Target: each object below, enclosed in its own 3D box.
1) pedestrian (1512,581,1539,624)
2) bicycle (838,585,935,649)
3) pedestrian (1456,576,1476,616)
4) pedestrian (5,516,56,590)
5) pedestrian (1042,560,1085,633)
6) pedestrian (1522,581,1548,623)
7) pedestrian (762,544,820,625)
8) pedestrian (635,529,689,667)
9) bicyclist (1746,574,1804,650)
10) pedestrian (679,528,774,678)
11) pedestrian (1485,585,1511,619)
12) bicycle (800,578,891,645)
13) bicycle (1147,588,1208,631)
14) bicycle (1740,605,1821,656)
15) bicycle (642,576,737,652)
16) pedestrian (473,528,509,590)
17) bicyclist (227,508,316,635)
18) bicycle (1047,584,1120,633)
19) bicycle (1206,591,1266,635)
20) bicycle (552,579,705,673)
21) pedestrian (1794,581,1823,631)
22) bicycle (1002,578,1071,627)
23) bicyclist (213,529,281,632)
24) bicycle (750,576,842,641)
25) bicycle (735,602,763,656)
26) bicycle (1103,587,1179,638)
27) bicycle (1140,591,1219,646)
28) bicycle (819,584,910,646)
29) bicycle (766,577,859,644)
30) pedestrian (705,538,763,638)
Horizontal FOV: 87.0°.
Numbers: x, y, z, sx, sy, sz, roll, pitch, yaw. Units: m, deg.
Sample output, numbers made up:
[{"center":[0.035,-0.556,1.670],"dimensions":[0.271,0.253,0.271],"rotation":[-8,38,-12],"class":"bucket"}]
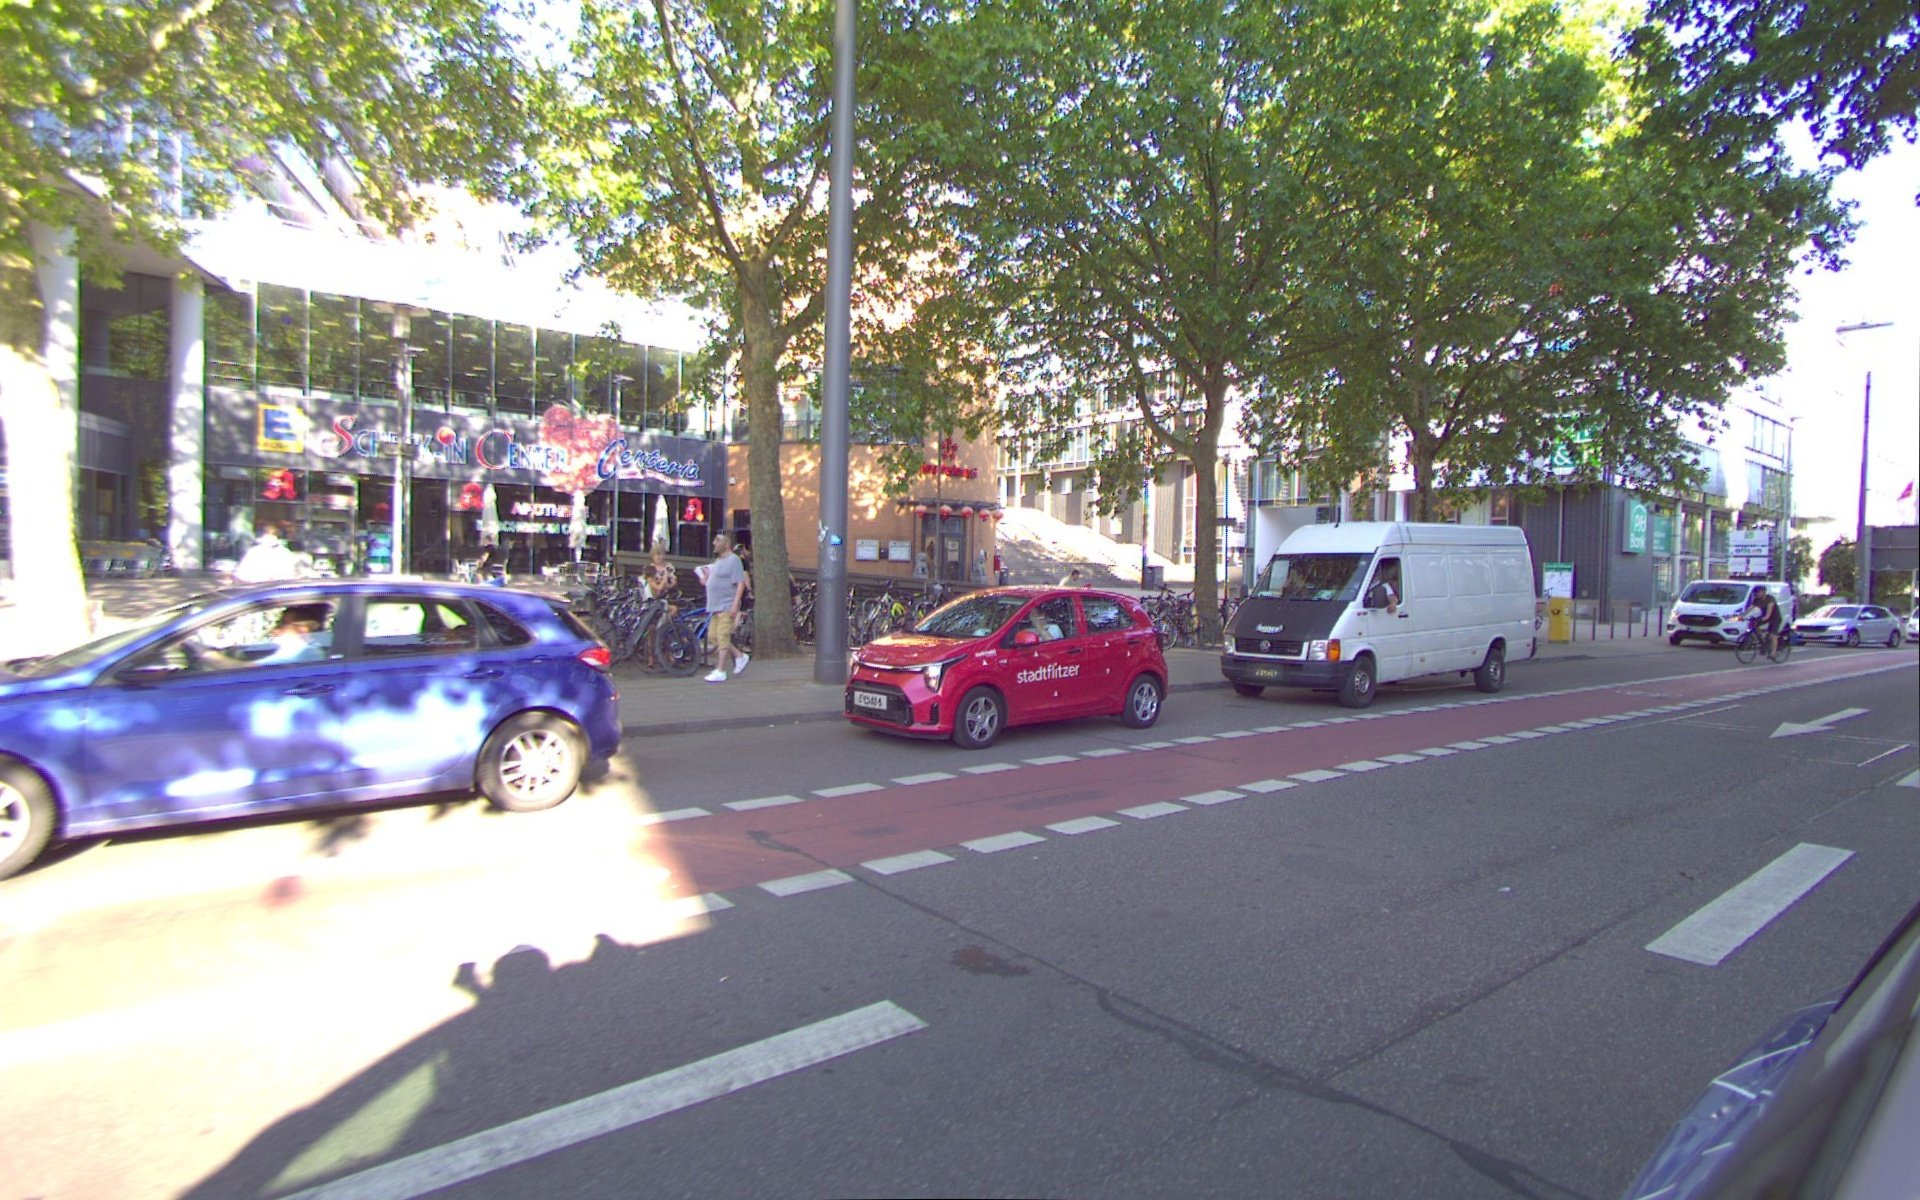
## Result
[{"center":[20.763,0.094,37.133],"dimensions":[0.625,1.562,0.579],"rotation":[1,2,-31],"class":"pedestrian"},{"center":[-1.262,0.270,17.594],"dimensions":[1.626,1.044,0.596],"rotation":[0,2,-41],"class":"bicycle"},{"center":[21.996,-0.163,43.968],"dimensions":[0.538,1.697,0.711],"rotation":[3,2,43],"class":"pedestrian"},{"center":[-21.525,-1.077,23.445],"dimensions":[0.851,1.661,0.966],"rotation":[0,2,-43],"class":"pedestrian"},{"center":[2.396,-0.083,23.437],"dimensions":[0.623,1.651,0.719],"rotation":[1,2,-34],"class":"pedestrian"},{"center":[21.357,0.074,37.590],"dimensions":[0.623,1.541,0.517],"rotation":[1,2,-31],"class":"pedestrian"},{"center":[-3.783,-0.357,22.654],"dimensions":[1.000,1.779,0.789],"rotation":[0,2,-35],"class":"pedestrian"},{"center":[-4.037,-0.032,13.762],"dimensions":[0.644,1.808,0.810],"rotation":[1,2,-14],"class":"pedestrian"},{"center":[19.013,0.272,23.614],"dimensions":[0.699,1.708,0.754],"rotation":[1,2,-22],"class":"bicyclist"},{"center":[-2.937,0.016,12.730],"dimensions":[0.872,1.808,0.796],"rotation":[3,2,43],"class":"pedestrian"},{"center":[20.389,0.082,38.348],"dimensions":[0.664,1.236,0.616],"rotation":[1,2,-34],"class":"pedestrian"},{"center":[-2.073,0.198,18.481],"dimensions":[1.626,1.151,0.503],"rotation":[0,2,-41],"class":"bicycle"},{"center":[5.582,0.231,25.962],"dimensions":[1.624,1.059,0.597],"rotation":[0,2,-37],"class":"bicycle"},{"center":[19.094,0.701,23.541],"dimensions":[2.082,1.135,0.552],"rotation":[1,2,-24],"class":"bicycle"},{"center":[-4.360,0.205,16.374],"dimensions":[0.478,1.174,1.455],"rotation":[3,2,41],"class":"bicycle"},{"center":[-14.646,-1.273,31.613],"dimensions":[0.834,1.866,1.002],"rotation":[1,2,-15],"class":"pedestrian"},{"center":[-10.054,-0.418,14.809],"dimensions":[0.834,1.789,0.754],"rotation":[1,2,-12],"class":"bicyclist"},{"center":[2.816,0.185,23.009],"dimensions":[1.623,1.059,0.597],"rotation":[0,2,-35],"class":"bicycle"},{"center":[7.045,0.318,25.816],"dimensions":[1.624,1.059,0.597],"rotation":[0,2,-37],"class":"bicycle"},{"center":[-4.190,0.329,12.910],"dimensions":[1.788,1.130,0.599],"rotation":[1,2,-13],"class":"bicycle"},{"center":[31.801,0.232,37.927],"dimensions":[0.875,1.830,0.565],"rotation":[0,2,-38],"class":"pedestrian"},{"center":[1.881,0.058,24.761],"dimensions":[1.622,1.140,0.598],"rotation":[0,2,-32],"class":"bicycle"},{"center":[-11.616,-0.319,16.498],"dimensions":[0.804,1.636,0.565],"rotation":[1,2,-25],"class":"bicyclist"},{"center":[-3.072,0.155,19.029],"dimensions":[1.662,1.174,0.479],"rotation":[0,2,-37],"class":"bicycle"},{"center":[-3.339,0.447,15.973],"dimensions":[0.391,0.770,1.115],"rotation":[1,2,-13],"class":"bicycle"},{"center":[3.940,0.267,21.995],"dimensions":[1.622,1.059,0.598],"rotation":[0,2,-32],"class":"bicycle"},{"center":[4.547,0.371,20.926],"dimensions":[1.622,1.059,0.598],"rotation":[0,2,-32],"class":"bicycle"},{"center":[-1.689,0.251,18.058],"dimensions":[1.626,1.044,0.503],"rotation":[0,2,-41],"class":"bicycle"},{"center":[-2.704,0.184,18.643],"dimensions":[1.662,1.174,0.479],"rotation":[0,2,-37],"class":"bicycle"},{"center":[-4.181,-0.232,18.678],"dimensions":[0.756,1.779,0.820],"rotation":[0,2,-35],"class":"pedestrian"}]
